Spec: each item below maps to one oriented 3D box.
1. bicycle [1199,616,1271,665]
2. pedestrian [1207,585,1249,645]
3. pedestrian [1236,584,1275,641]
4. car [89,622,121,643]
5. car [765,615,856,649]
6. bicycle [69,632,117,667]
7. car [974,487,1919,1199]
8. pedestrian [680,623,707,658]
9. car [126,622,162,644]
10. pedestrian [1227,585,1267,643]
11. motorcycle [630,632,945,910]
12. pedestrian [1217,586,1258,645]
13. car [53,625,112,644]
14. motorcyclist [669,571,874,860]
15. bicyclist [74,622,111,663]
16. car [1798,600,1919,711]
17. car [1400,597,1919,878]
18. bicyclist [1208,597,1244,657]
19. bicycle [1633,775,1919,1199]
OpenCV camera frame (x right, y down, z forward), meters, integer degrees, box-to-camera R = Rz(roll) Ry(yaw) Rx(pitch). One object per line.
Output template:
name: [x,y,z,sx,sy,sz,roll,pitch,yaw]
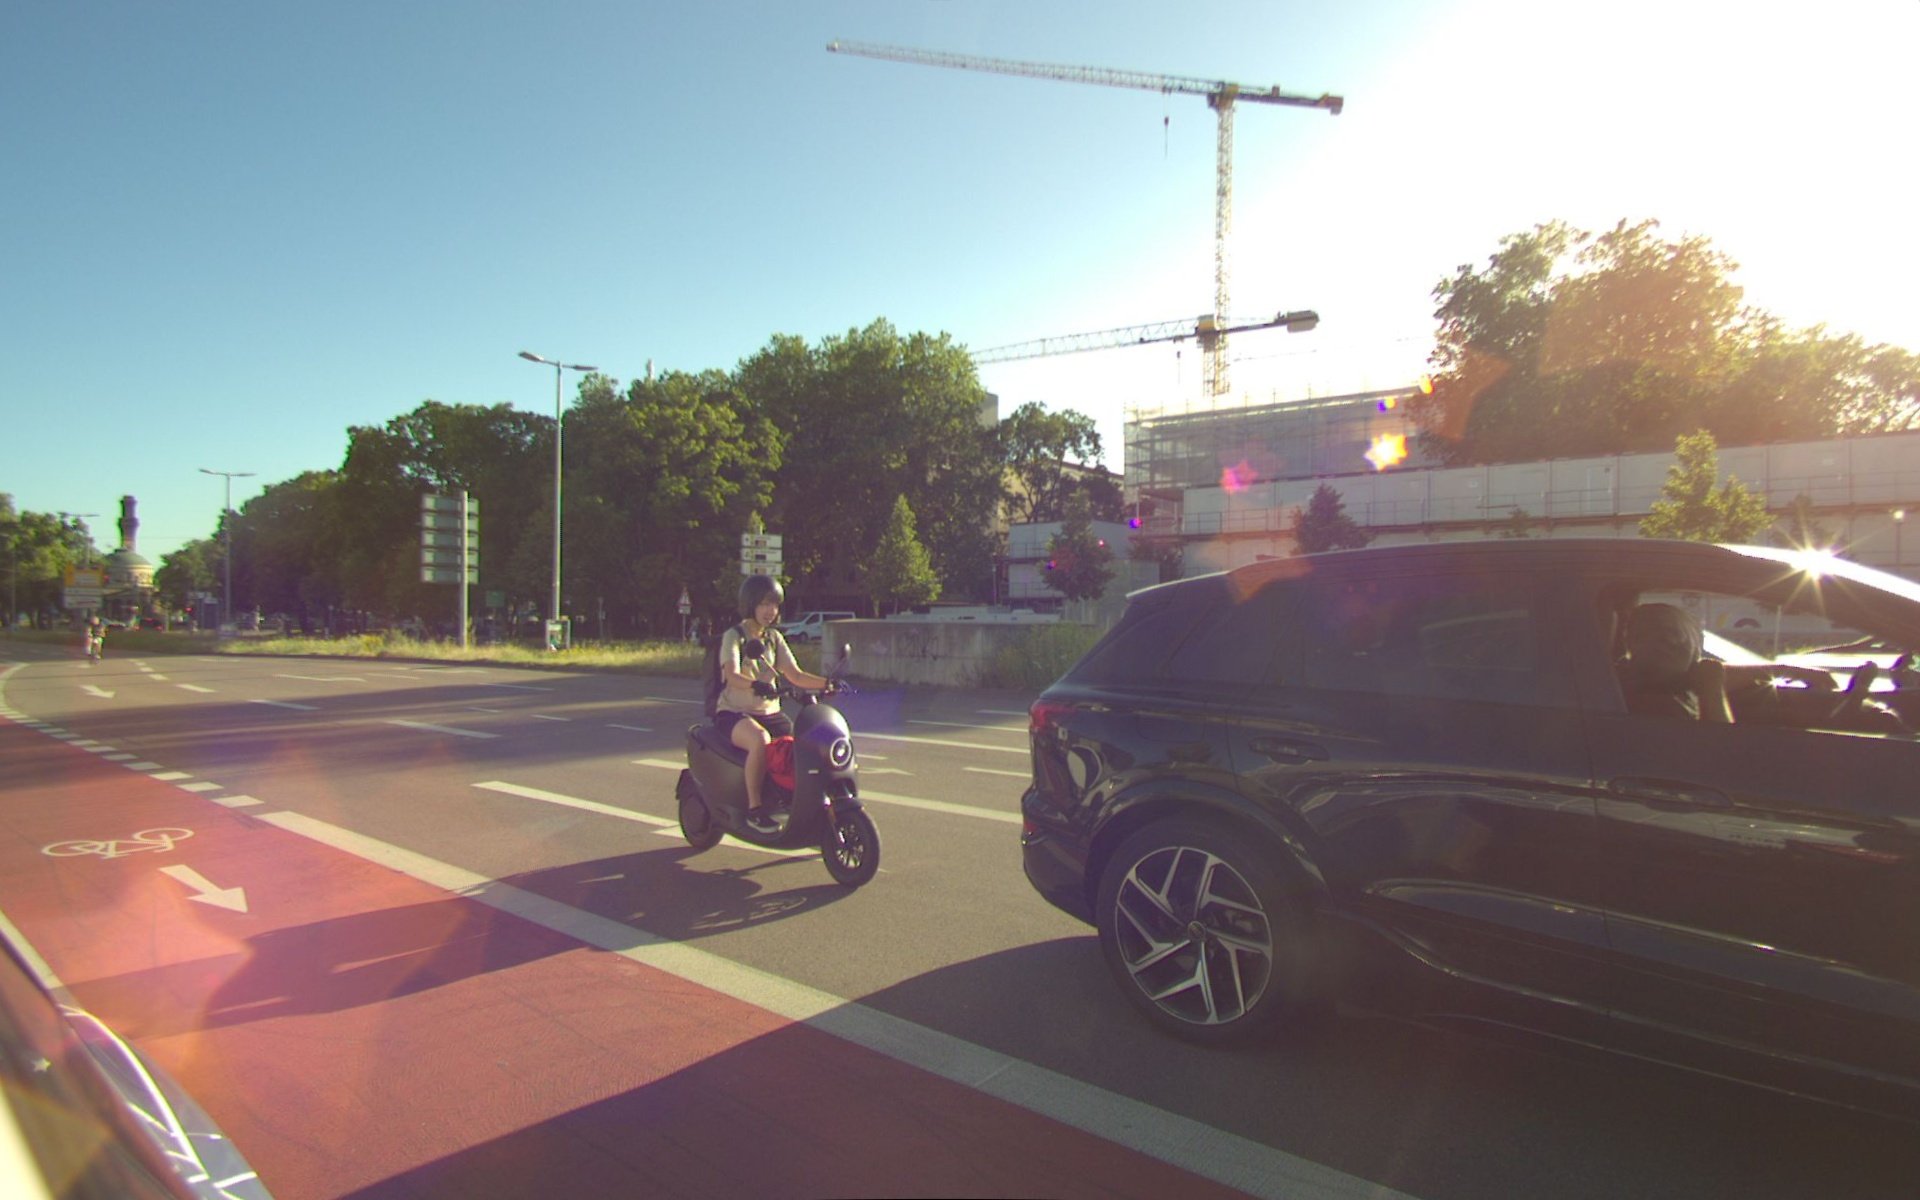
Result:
bicycle: [6.765,0.973,24.976,1.649,1.163,0.490,-1,0,40]
pedestrian: [9.220,0.512,34.795,1.135,2.029,0.930,-1,0,35]
pedestrian: [10.851,0.453,37.177,1.135,2.029,0.930,-1,0,35]
car: [-79.866,3.022,94.539,3.945,1.802,1.725,-1,0,41]
car: [-9.059,1.919,61.848,2.065,1.950,5.443,-1,-2,42]
bicycle: [-29.517,1.673,34.441,2.806,1.124,0.843,-2,-1,41]
car: [2.416,0.579,3.029,4.677,1.647,1.753,-1,0,40]
pedestrian: [-14.557,2.202,55.270,1.018,1.845,0.977,-1,0,38]
car: [-71.469,2.841,88.648,3.998,1.841,1.796,-1,0,41]
pedestrian: [10.313,0.489,36.389,1.135,2.029,0.930,-1,0,35]
motorcycle: [-1.033,0.844,5.733,1.883,1.303,0.715,-2,-1,41]
pedestrian: [9.764,0.530,35.596,1.135,2.029,0.930,-1,0,35]
car: [-95.657,3.745,110.387,4.507,1.851,1.883,-1,0,-16]
motorcyclist: [-1.079,0.598,5.773,0.917,1.485,0.717,-2,-1,41]
bicyclist: [-29.557,1.446,34.479,0.829,1.358,0.843,-2,-1,41]
car: [14.790,0.807,14.775,3.894,1.597,1.637,-1,-2,39]
car: [4.974,0.756,6.549,3.603,1.497,1.477,-2,-1,41]
bicyclist: [6.602,0.665,25.115,0.713,1.448,0.490,-1,0,39]
bicycle: [1.336,0.791,0.298,1.829,1.227,0.610,-2,-1,39]
